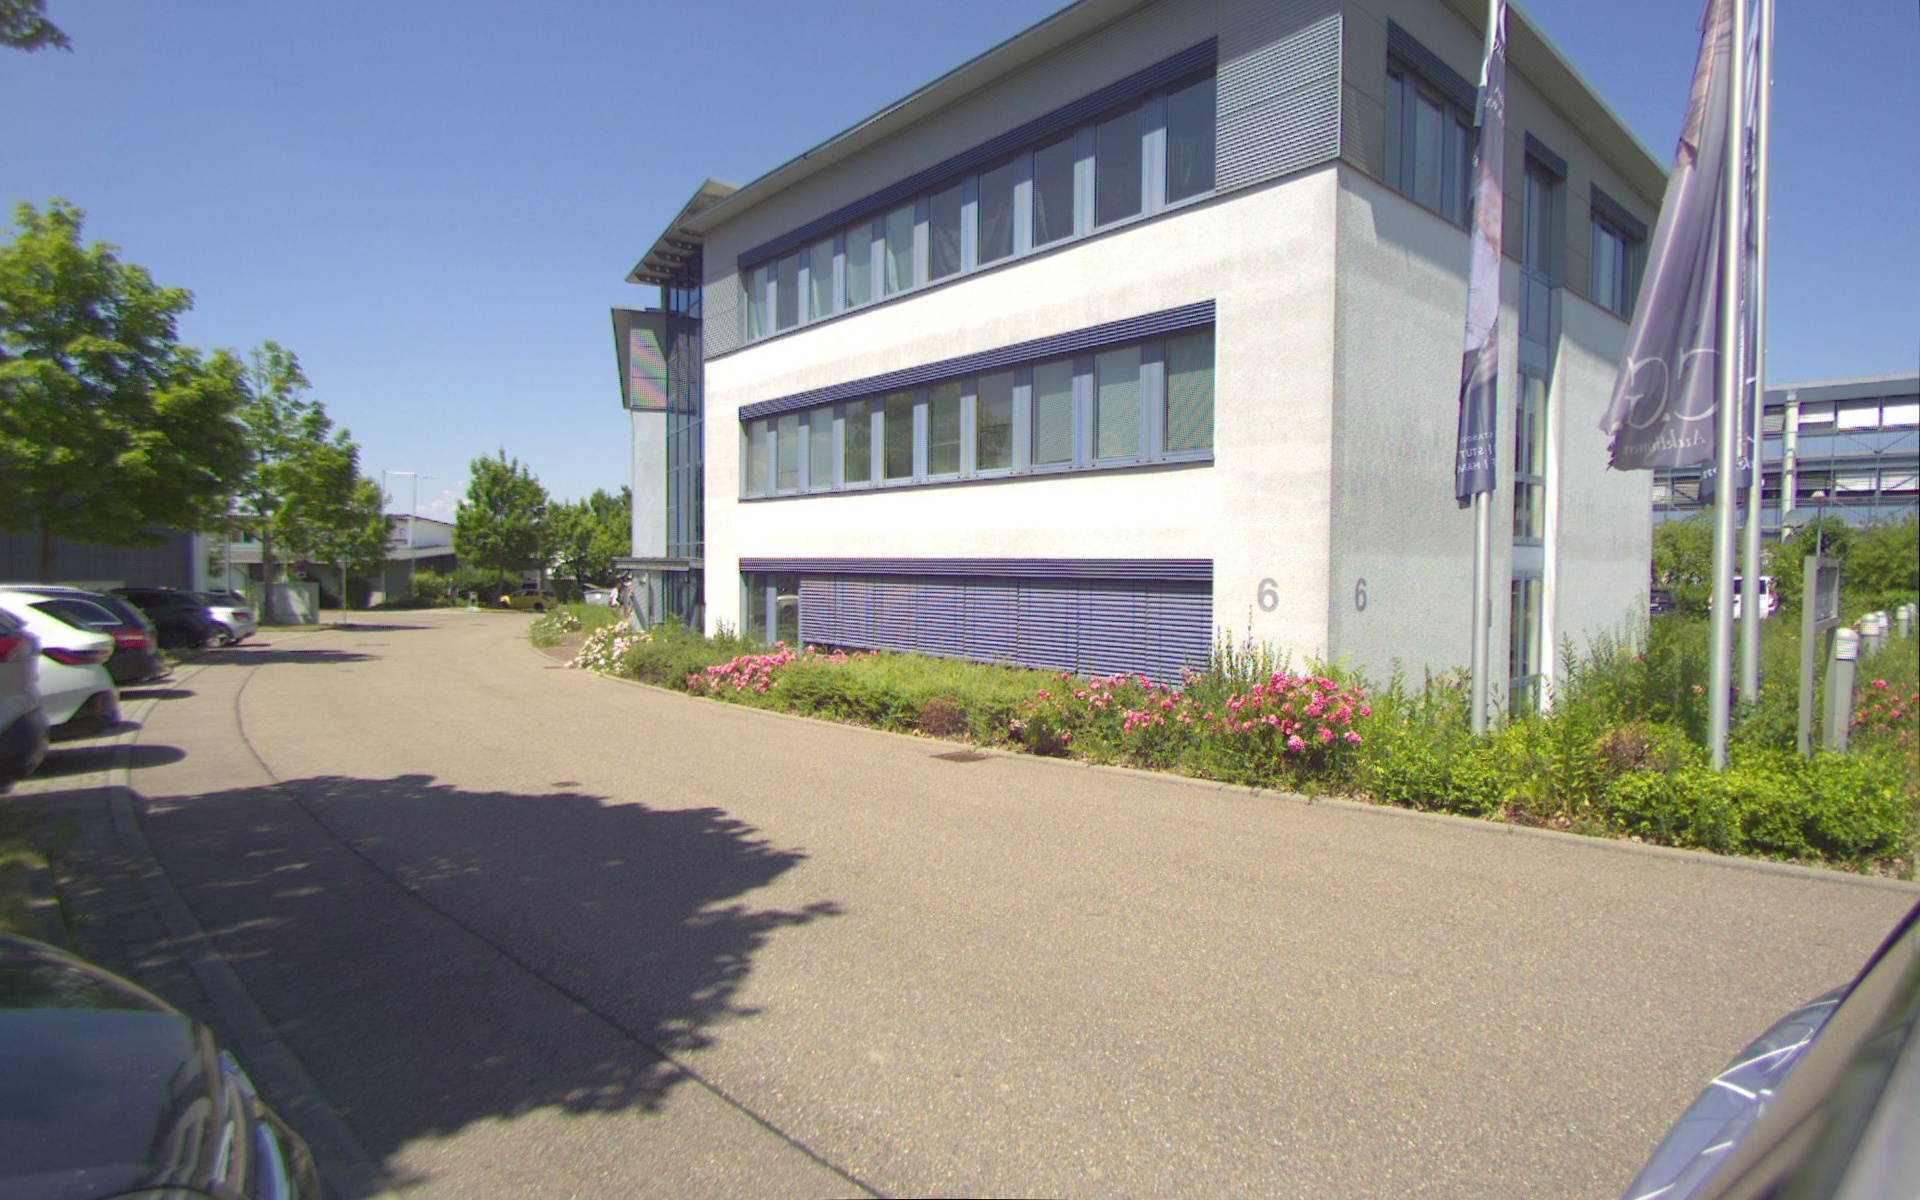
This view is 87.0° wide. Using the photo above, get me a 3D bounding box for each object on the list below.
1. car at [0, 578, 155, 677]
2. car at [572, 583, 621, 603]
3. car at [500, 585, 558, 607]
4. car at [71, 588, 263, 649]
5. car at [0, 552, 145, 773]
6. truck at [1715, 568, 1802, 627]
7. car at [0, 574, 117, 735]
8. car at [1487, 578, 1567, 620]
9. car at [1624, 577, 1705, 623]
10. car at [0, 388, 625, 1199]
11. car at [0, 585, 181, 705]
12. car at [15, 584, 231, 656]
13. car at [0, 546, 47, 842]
[{"bbox_3d":[-16.460,0.447,17.200,4.093,1.625,1.663,1,0,-29],"label":"car"},{"bbox_3d":[-27.971,-0.548,77.915,3.162,1.460,1.585,0,1,10],"label":"car"},{"bbox_3d":[-28.253,-0.262,66.444,3.162,1.460,1.585,0,1,10],"label":"car"},{"bbox_3d":[-19.944,0.443,25.631,3.515,1.461,1.638,1,0,-25],"label":"car"},{"bbox_3d":[-8.678,0.460,7.394,4.132,1.664,1.657,0,0,-43],"label":"car"},{"bbox_3d":[27.637,-0.120,34.984,1.994,1.917,3.937,0,1,44],"label":"truck"},{"bbox_3d":[-10.426,0.499,9.239,4.107,1.505,1.657,0,0,-43],"label":"car"},{"bbox_3d":[22.956,-0.070,40.910,3.935,1.565,1.784,-2,1,-45],"label":"car"},{"bbox_3d":[26.143,-0.033,37.502,3.935,1.565,1.784,-2,1,-45],"label":"car"},{"bbox_3d":[-2.569,0.642,0.169,1.759,1.568,4.492,0,1,45],"label":"car"},{"bbox_3d":[-12.816,0.555,13.216,4.099,1.505,1.660,1,0,-35],"label":"car"},{"bbox_3d":[-19.175,0.437,23.365,3.515,1.545,1.638,1,0,-25],"label":"car"},{"bbox_3d":[-7.431,0.510,5.042,4.259,1.664,1.853,0,0,-43],"label":"car"}]
